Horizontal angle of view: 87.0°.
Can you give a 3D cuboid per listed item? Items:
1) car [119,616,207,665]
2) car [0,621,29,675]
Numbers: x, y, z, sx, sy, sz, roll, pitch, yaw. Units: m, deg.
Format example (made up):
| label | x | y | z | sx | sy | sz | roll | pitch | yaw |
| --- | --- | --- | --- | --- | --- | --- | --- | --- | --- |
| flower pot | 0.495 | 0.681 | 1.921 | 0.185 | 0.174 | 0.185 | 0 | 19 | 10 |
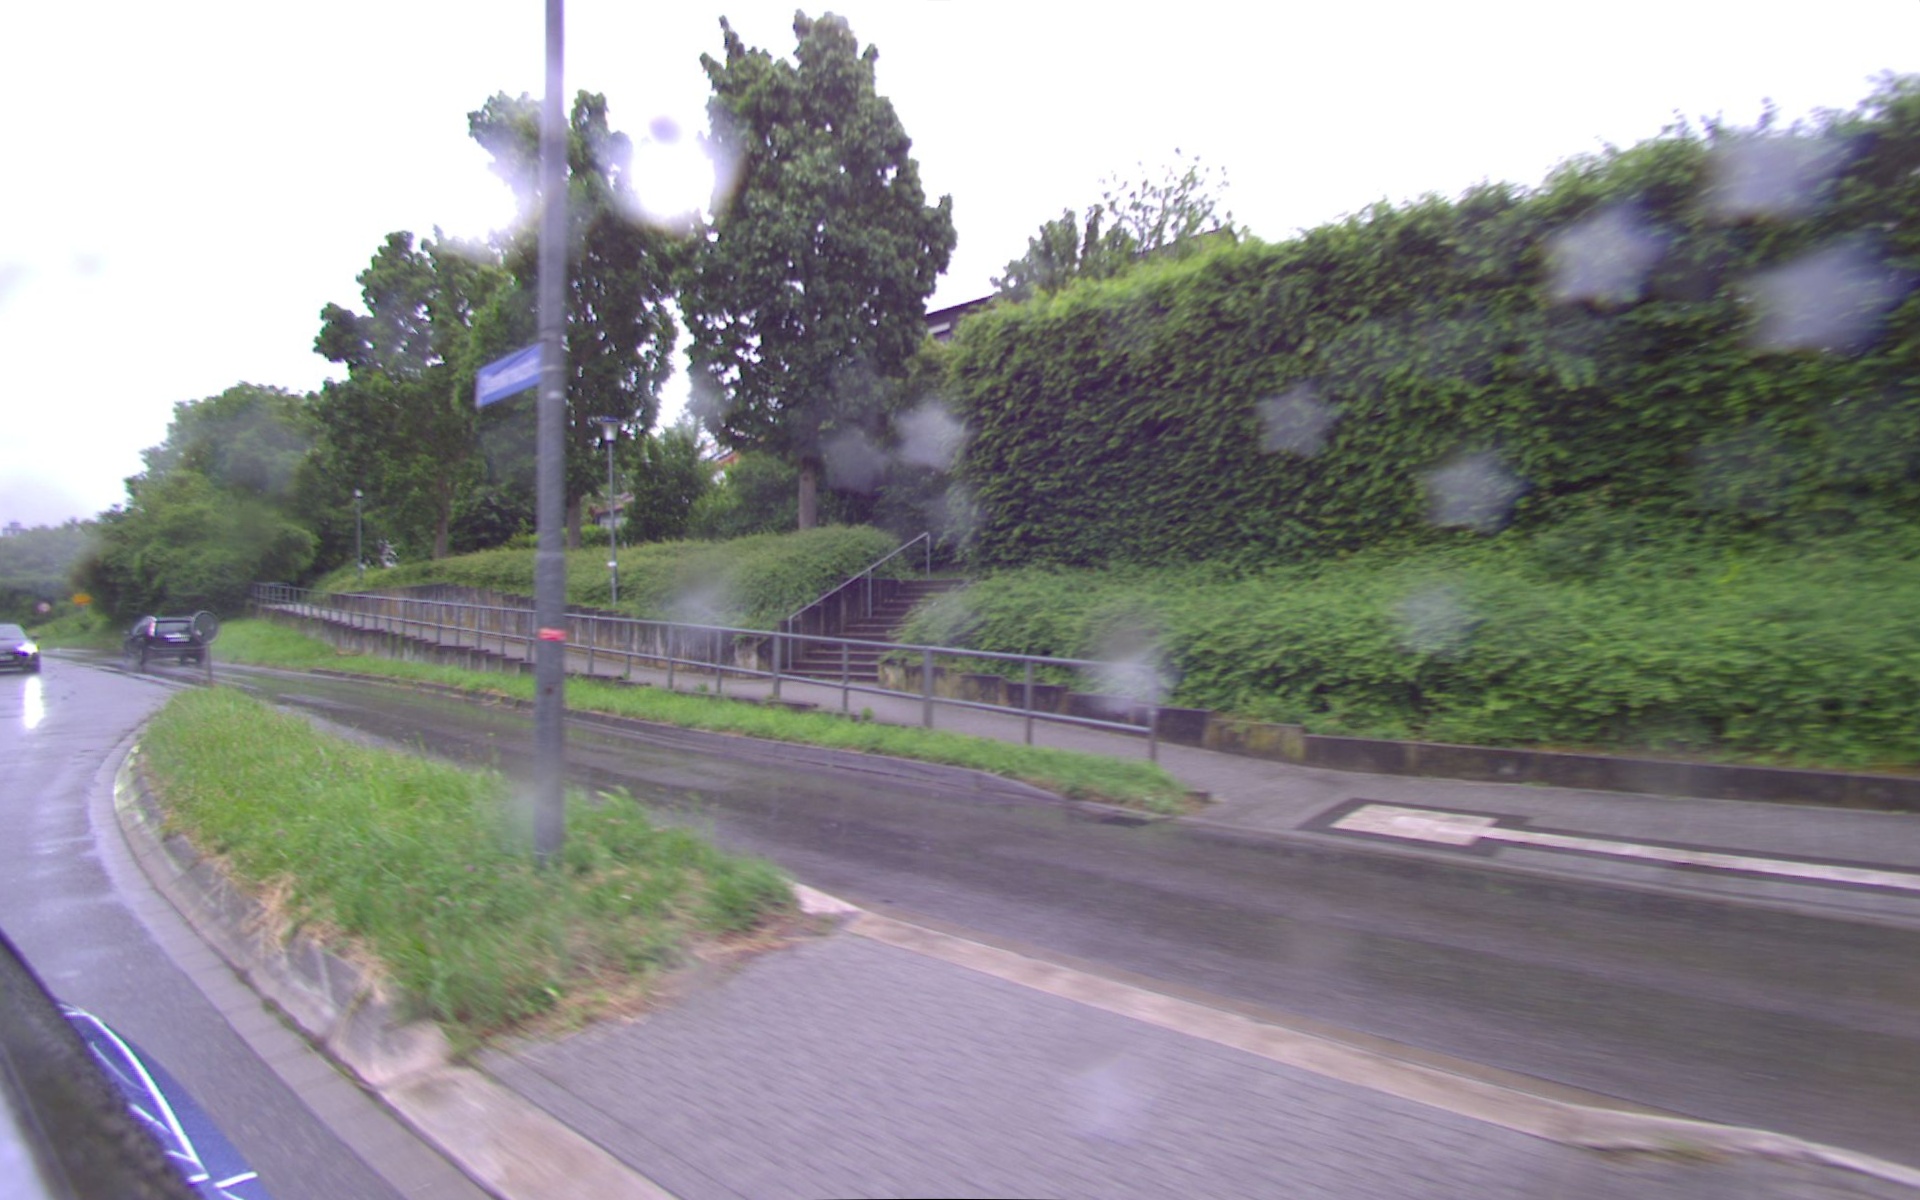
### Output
| label | x | y | z | sx | sy | sz | roll | pitch | yaw |
| --- | --- | --- | --- | --- | --- | --- | --- | --- | --- |
| car | -26.550 | 1.311 | 33.656 | 4.143 | 1.514 | 1.740 | -1 | -3 | 44 |
| car | -28.612 | 1.466 | 29.742 | 1.739 | 1.497 | 3.793 | 1 | -4 | -44 |
